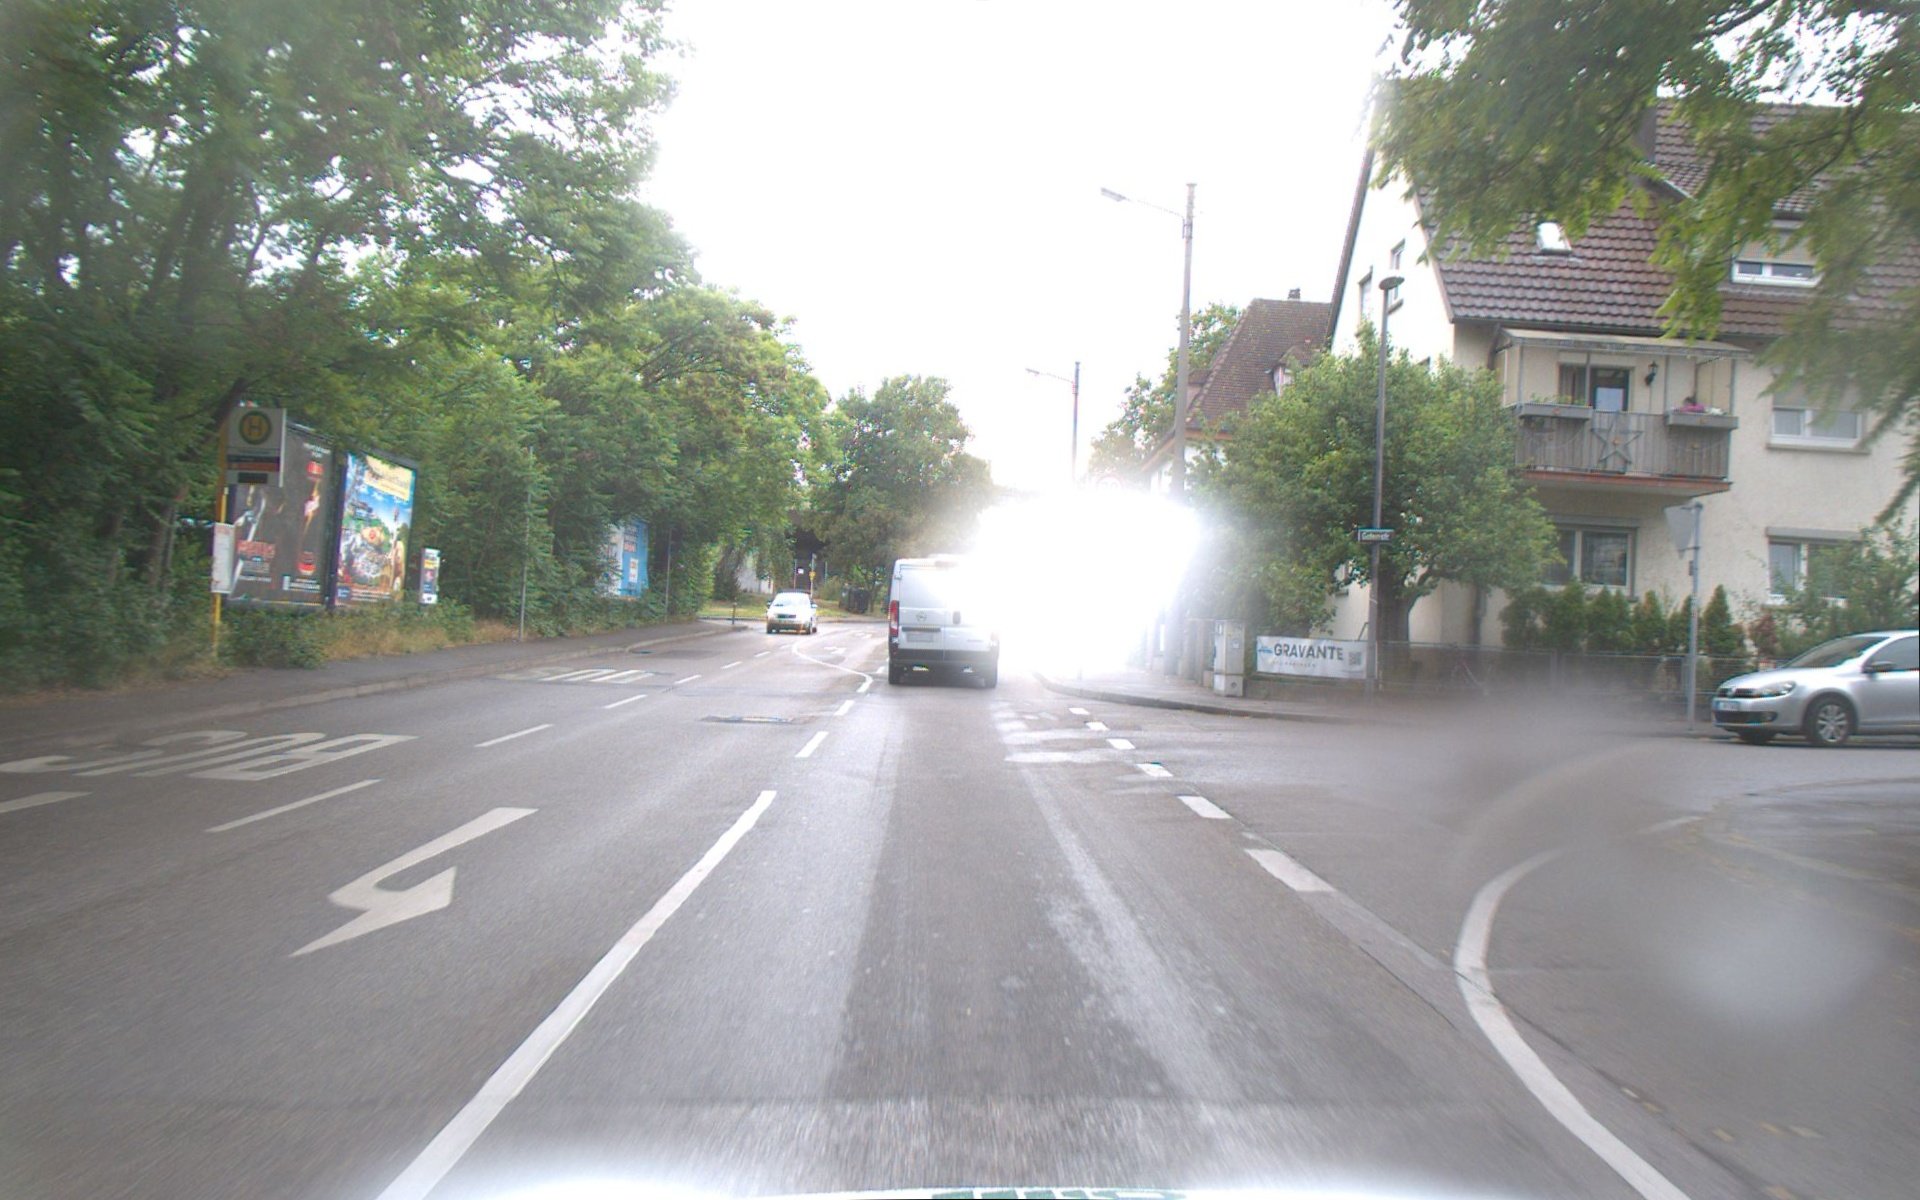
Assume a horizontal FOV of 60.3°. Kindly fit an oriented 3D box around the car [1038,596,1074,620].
[{"bbox_3d":[6.629,0.596,113.800,1.951,1.482,4.833,2,-1,9],"label":"car"}]

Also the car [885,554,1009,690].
[{"bbox_3d":[-0.265,0.410,31.576,2.103,2.323,5.061,2,0,-1],"label":"car"}]

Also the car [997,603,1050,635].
[{"bbox_3d":[3.372,1.019,86.767,1.729,1.537,3.756,3,0,18],"label":"car"}]

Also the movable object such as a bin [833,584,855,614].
[{"bbox_3d":[-6.770,-0.047,96.682,0.921,1.590,1.131,8,0,4],"label":"movable object such as a bin"}]

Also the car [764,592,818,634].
[{"bbox_3d":[-6.154,0.450,60.590,1.620,1.441,3.935,0,0,-1],"label":"car"}]

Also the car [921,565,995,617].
[{"bbox_3d":[-0.061,-0.545,107.397,2.481,3.070,7.213,3,0,18],"label":"car"}]

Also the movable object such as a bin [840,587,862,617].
[{"bbox_3d":[-6.263,0.096,95.376,0.921,1.590,1.131,8,0,4],"label":"movable object such as a bin"}]

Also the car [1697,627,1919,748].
[{"bbox_3d":[11.731,1.114,21.131,3.908,1.448,1.703,1,-2,-4],"label":"car"}]

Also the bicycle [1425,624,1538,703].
[{"bbox_3d":[7.834,0.951,24.893,1.538,1.134,0.457,1,0,3],"label":"bicycle"}]
